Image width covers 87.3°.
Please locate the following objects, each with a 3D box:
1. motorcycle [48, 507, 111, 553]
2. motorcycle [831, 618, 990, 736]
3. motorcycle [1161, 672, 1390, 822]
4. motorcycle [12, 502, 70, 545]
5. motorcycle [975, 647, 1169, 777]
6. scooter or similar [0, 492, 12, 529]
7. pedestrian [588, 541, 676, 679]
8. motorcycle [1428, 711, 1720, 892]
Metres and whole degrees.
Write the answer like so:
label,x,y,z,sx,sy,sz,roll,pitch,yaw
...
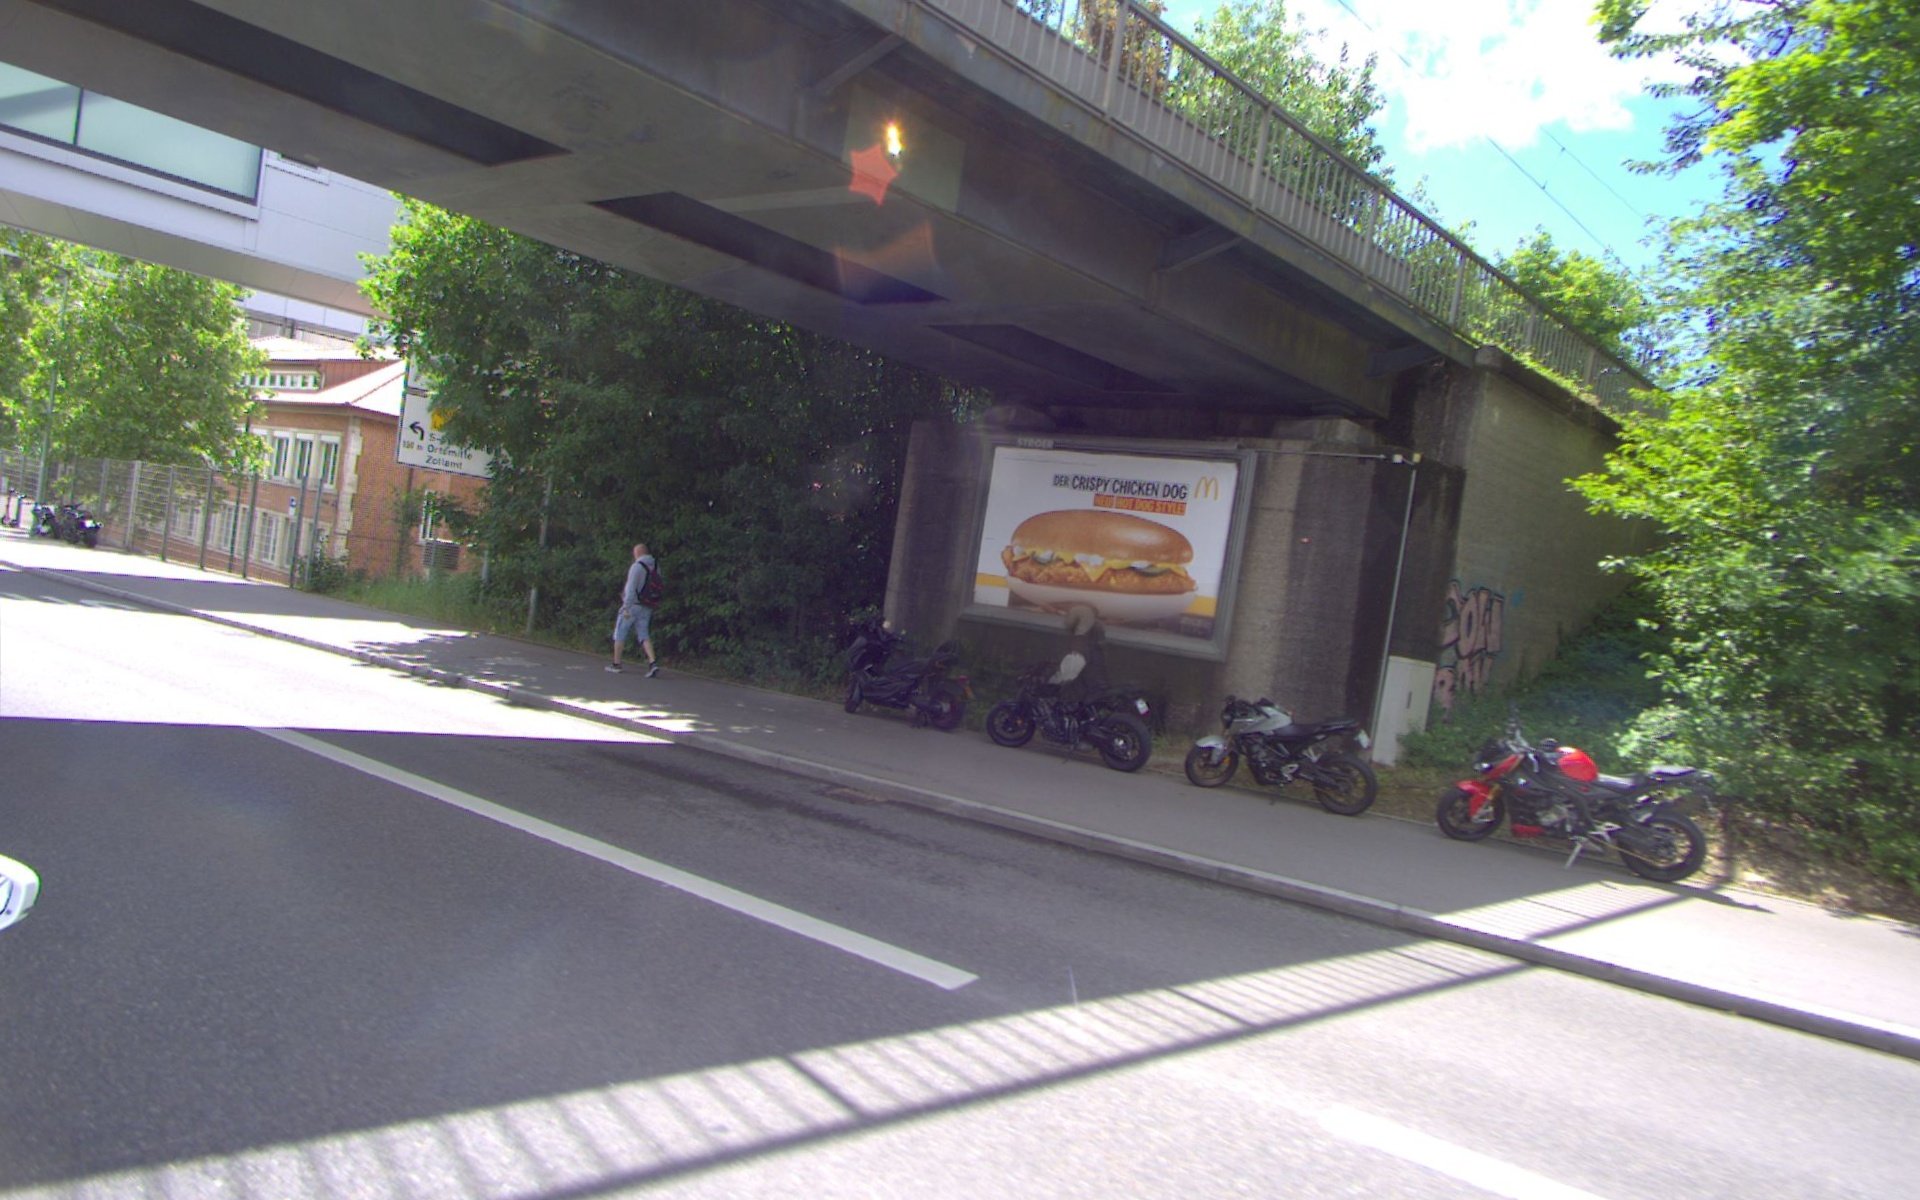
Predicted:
label,x,y,z,sx,sy,sz,roll,pitch,yaw
motorcycle,-25.028,-1.989,28.582,2.585,1.042,0.563,8,2,32
motorcycle,-0.640,0.934,12.594,1.871,1.213,0.548,6,0,29
motorcycle,3.094,1.405,9.958,1.983,1.124,0.548,6,0,29
motorcycle,-27.742,-2.314,30.338,2.585,1.042,0.563,8,2,32
motorcycle,1.218,1.205,11.167,1.983,1.124,0.548,6,0,29
scooter or similar,-32.542,-3.052,34.002,1.114,1.191,0.369,7,0,32
pedestrian,-4.724,0.150,14.491,0.858,1.881,0.623,6,0,31
motorcycle,5.194,1.667,8.658,1.983,1.124,0.548,6,0,29
